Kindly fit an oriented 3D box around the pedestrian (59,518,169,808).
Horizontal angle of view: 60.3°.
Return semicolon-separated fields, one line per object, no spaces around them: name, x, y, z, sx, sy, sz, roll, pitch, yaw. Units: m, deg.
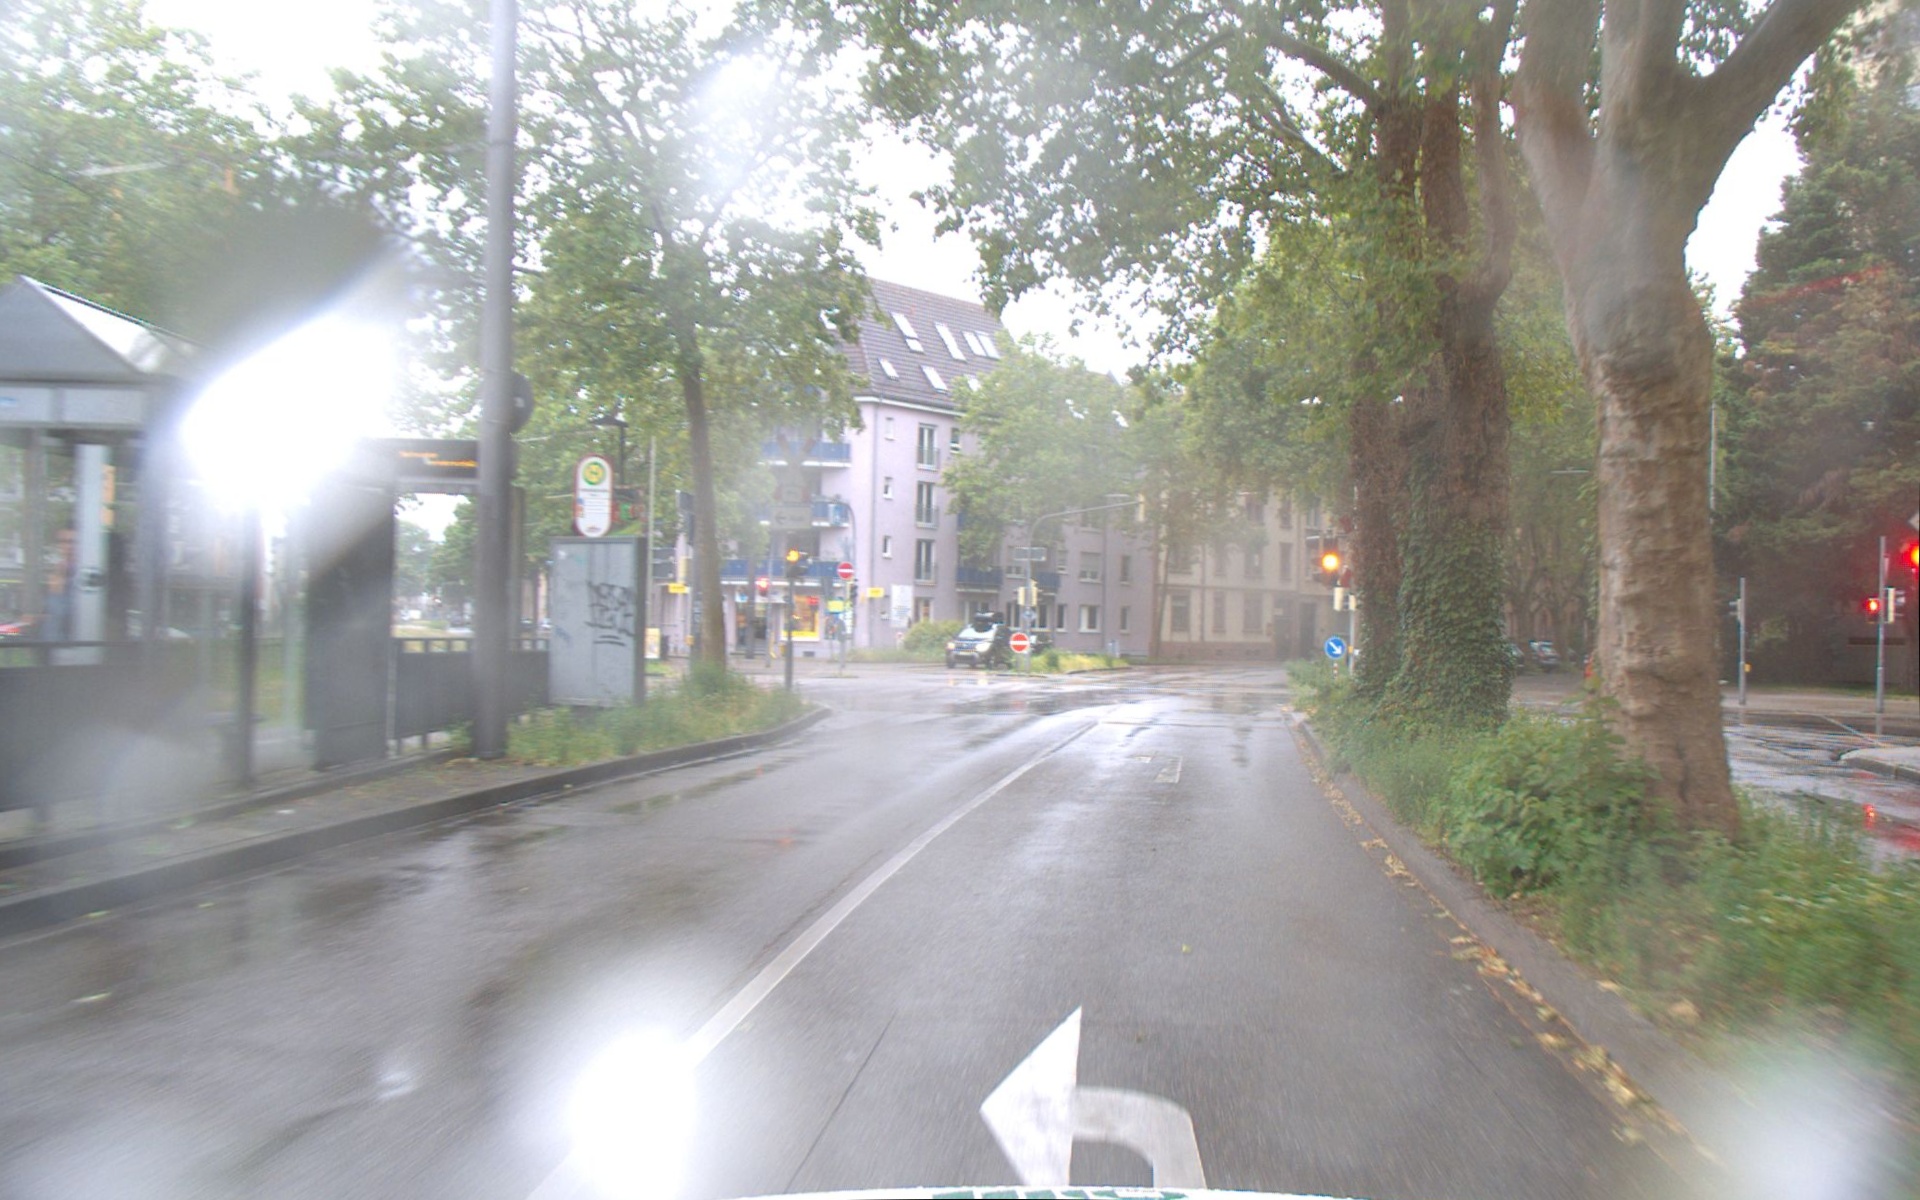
pedestrian;-5.336;0.388;10.428;0.575;1.761;0.562;0;-2;-32

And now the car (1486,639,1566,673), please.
car;28.914;2.858;84.529;3.549;1.646;1.673;-2;-2;39

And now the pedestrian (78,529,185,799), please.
pedestrian;-5.610;0.423;11.197;0.576;1.761;0.561;0;-2;-34

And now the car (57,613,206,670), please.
car;-25.332;1.261;50.584;3.924;1.680;1.972;-1;-1;22

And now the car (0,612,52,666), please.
car;-31.120;1.253;52.878;3.704;1.668;1.724;-1;-1;22

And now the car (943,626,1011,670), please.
car;0.671;1.799;62.366;1.688;1.580;3.562;-1;-1;16

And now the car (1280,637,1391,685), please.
car;12.353;2.007;54.432;3.406;1.550;1.520;-1;-1;19

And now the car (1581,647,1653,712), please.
car;22.239;2.660;55.899;1.954;2.049;3.996;-1;-1;26
